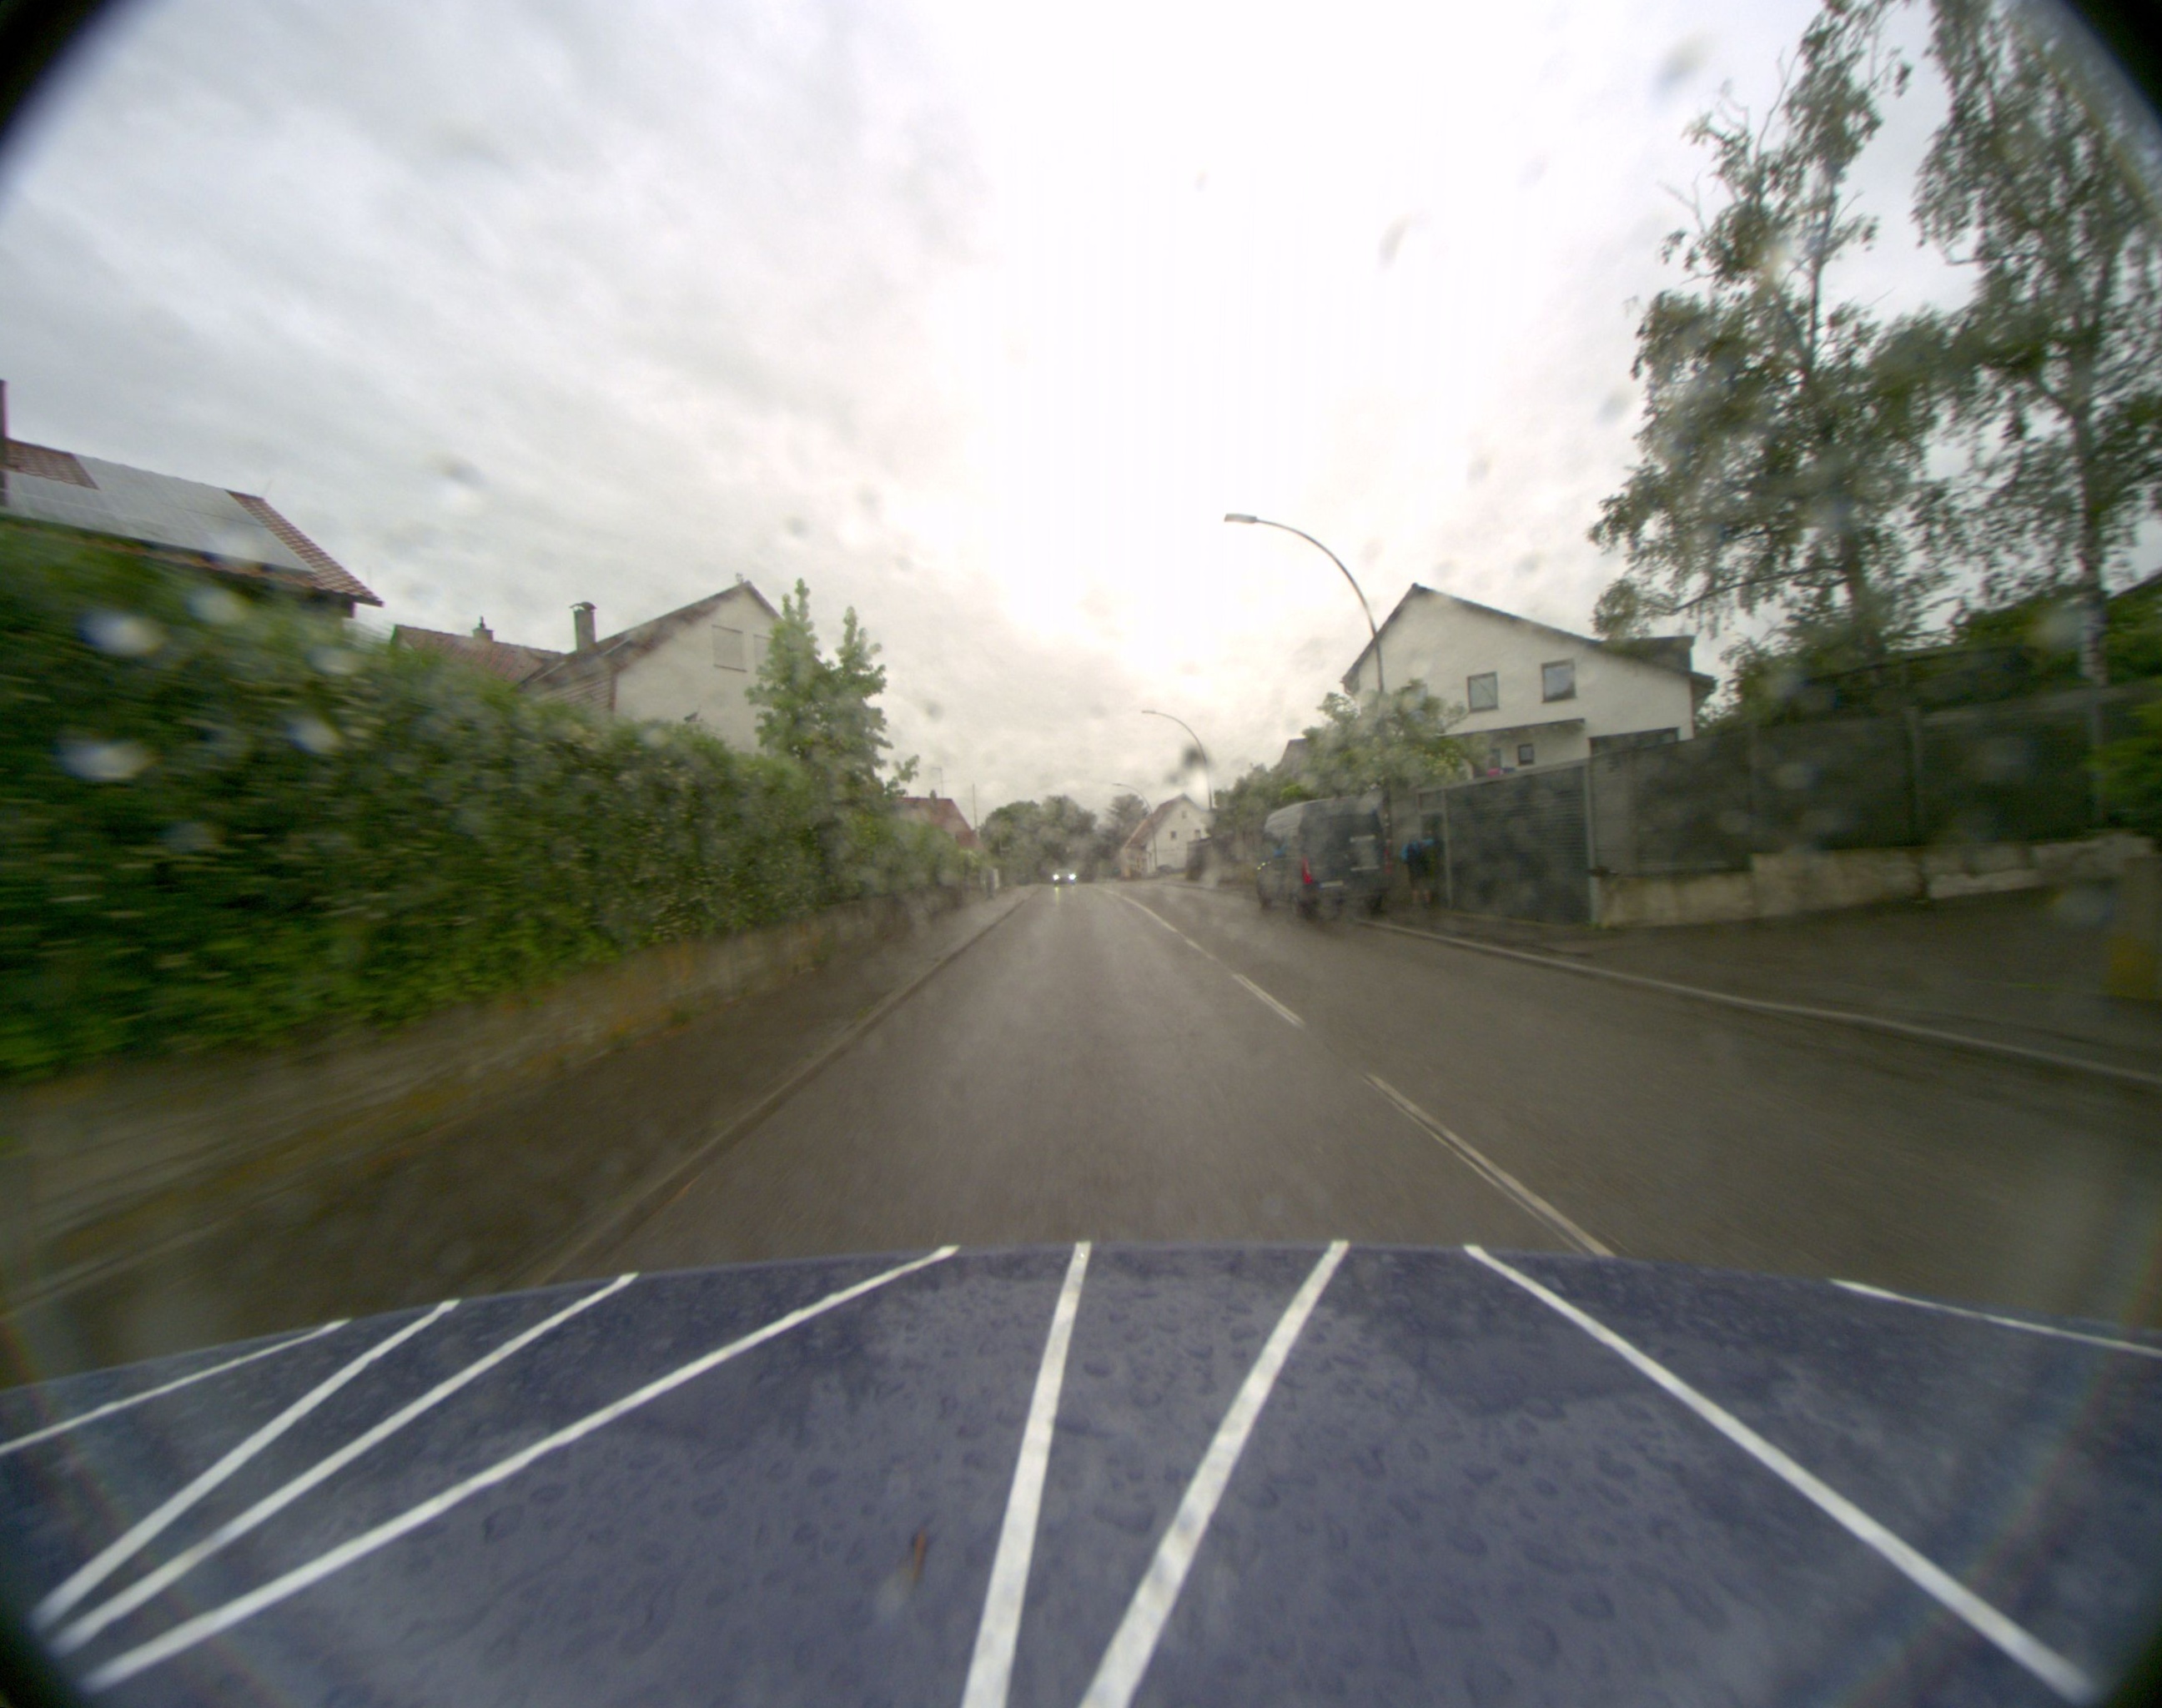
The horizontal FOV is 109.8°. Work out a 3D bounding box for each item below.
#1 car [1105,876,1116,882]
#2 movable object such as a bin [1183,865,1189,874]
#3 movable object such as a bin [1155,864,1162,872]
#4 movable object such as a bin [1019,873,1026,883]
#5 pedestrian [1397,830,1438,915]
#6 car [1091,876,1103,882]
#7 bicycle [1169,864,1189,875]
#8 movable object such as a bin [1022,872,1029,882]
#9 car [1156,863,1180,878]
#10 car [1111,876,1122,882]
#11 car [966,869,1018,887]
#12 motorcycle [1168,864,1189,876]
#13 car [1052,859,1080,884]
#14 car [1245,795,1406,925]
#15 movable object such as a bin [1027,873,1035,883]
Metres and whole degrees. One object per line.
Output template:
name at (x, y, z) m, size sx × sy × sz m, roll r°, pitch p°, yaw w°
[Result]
car at (7.505, 6.381, 193.088) m, size 1.761 × 1.410 × 4.160 m, roll -2°, pitch -2°, yaw 19°
movable object such as a bin at (12.355, 1.807, 89.396) m, size 0.639 × 1.026 × 0.605 m, roll -2°, pitch -1°, yaw 12°
movable object such as a bin at (9.195, 1.652, 89.992) m, size 0.639 × 1.026 × 0.674 m, roll -2°, pitch -1°, yaw 12°
movable object such as a bin at (-5.944, 2.434, 76.778) m, size 0.443 × 1.015 × 0.526 m, roll -2°, pitch -1°, yaw 28°
pedestrian at (7.641, 0.414, 17.246) m, size 0.679 × 1.875 × 0.811 m, roll -2°, pitch 1°, yaw 32°
car at (3.893, 5.951, 181.934) m, size 1.792 × 1.523 × 3.806 m, roll -2°, pitch -2°, yaw 18°
bicycle at (11.327, 1.783, 87.630) m, size 2.101 × 1.107 × 0.738 m, roll -6°, pitch 0°, yaw 15°
movable object such as a bin at (-5.502, 2.300, 75.217) m, size 0.628 × 1.015 × 0.541 m, roll -2°, pitch -1°, yaw 3°
car at (9.683, 1.813, 84.387) m, size 1.904 × 1.433 × 3.834 m, roll -5°, pitch -3°, yaw 17°
car at (9.315, 6.516, 198.120) m, size 1.762 × 1.410 × 4.160 m, roll -2°, pitch -2°, yaw 17°
car at (-8.635, 2.352, 73.911) m, size 4.563 × 1.375 × 2.003 m, roll -5°, pitch -3°, yaw 18°
motorcycle at (11.146, 1.791, 86.927) m, size 2.113 × 1.107 × 0.781 m, roll -7°, pitch -1°, yaw 15°
car at (-1.364, 1.559, 66.247) m, size 2.000 × 2.001 × 3.999 m, roll -3°, pitch -1°, yaw -7°
car at (5.893, 0.143, 19.300) m, size 2.099 × 2.633 × 5.919 m, roll -4°, pitch 0°, yaw 1°
movable object such as a bin at (-5.030, 2.399, 76.807) m, size 0.530 × 1.015 × 0.734 m, roll -2°, pitch -1°, yaw 17°
